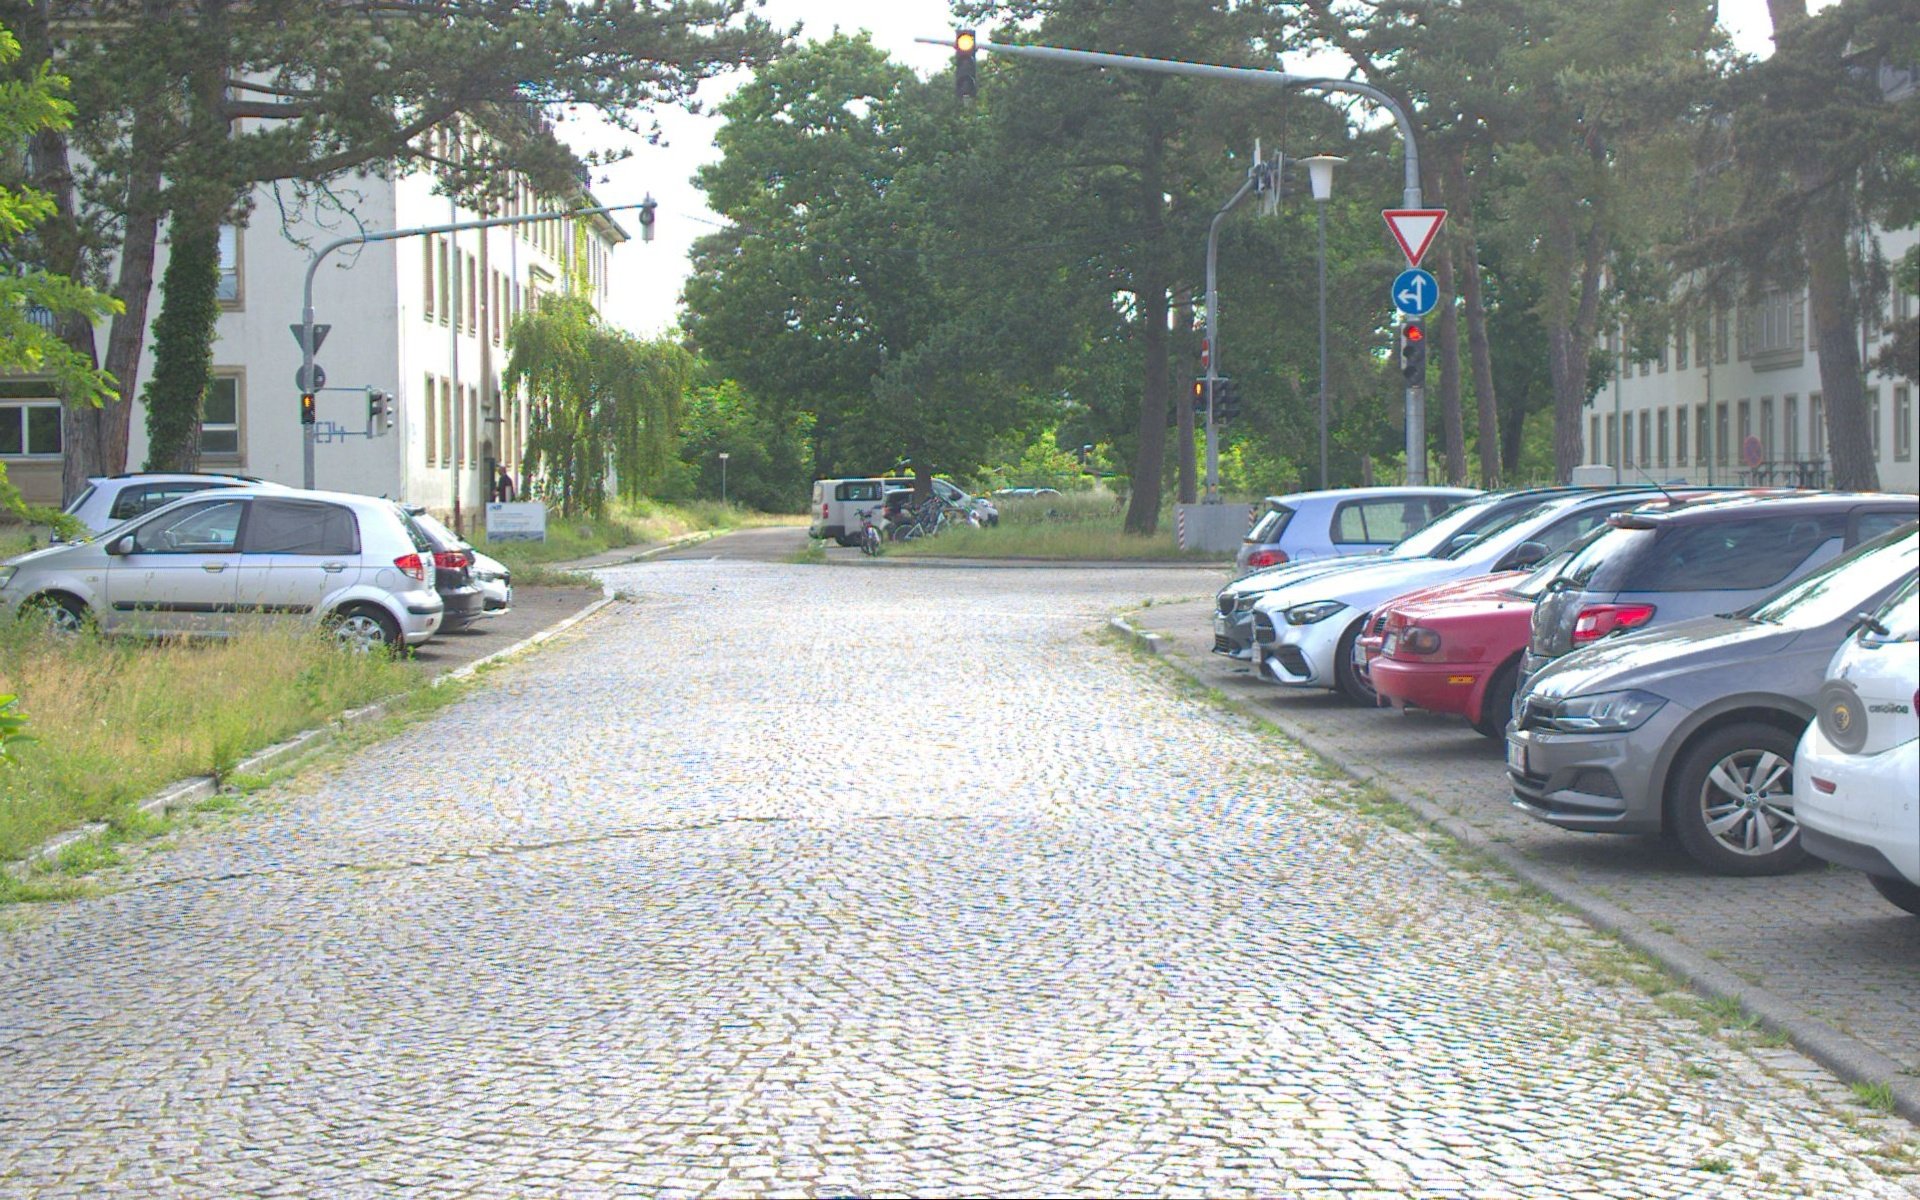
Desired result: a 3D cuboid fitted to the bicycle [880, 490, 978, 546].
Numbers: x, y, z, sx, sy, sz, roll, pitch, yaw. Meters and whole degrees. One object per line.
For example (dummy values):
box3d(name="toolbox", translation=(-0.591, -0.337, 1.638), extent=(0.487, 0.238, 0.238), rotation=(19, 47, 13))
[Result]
box3d(name="bicycle", translation=(-0.716, -1.893, 79.260), extent=(2.160, 1.264, 0.813), rotation=(0, 2, -8))

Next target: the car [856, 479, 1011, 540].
box3d(name="car", translation=(-0.725, -2.467, 93.214), extent=(3.986, 1.638, 2.001), rotation=(0, 2, -7))

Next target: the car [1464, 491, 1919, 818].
box3d(name="car", translation=(4.381, 0.216, 17.236), extent=(3.291, 1.499, 1.665), rotation=(-1, 2, -12))

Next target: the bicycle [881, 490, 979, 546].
box3d(name="bicycle", translation=(-0.695, -1.880, 78.673), extent=(2.160, 1.264, 0.813), rotation=(0, 2, -8))

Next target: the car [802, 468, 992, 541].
box3d(name="car", translation=(-1.787, -2.687, 96.464), extent=(5.049, 2.006, 2.001), rotation=(0, 2, -12))

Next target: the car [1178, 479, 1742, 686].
box3d(name="car", translation=(3.918, -0.171, 27.233), extent=(4.122, 1.538, 1.665), rotation=(-1, 2, -7))

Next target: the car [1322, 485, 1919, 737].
box3d(name="car", translation=(4.478, 0.032, 22.199), extent=(3.986, 1.538, 1.664), rotation=(0, 2, -7))

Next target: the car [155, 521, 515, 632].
box3d(name="car", translation=(-6.588, -0.262, 36.524), extent=(3.670, 1.090, 1.647), rotation=(-1, 2, -7))

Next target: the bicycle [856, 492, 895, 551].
box3d(name="bicycle", translation=(-1.840, -1.714, 74.890), extent=(0.810, 1.264, 1.973), rotation=(0, 2, -1))

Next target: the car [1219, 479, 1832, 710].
box3d(name="car", translation=(3.966, -0.075, 24.417), extent=(3.986, 1.538, 1.665), rotation=(-1, 2, -7))

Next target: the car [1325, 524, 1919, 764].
box3d(name="car", translation=(3.922, 0.221, 19.944), extent=(3.291, 1.263, 1.665), rotation=(-1, 2, -7))

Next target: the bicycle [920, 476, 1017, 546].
box3d(name="bicycle", translation=(0.194, -2.070, 79.985), extent=(2.160, 1.610, 0.813), rotation=(0, 2, -8))

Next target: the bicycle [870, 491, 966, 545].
box3d(name="bicycle", translation=(-0.989, -1.923, 80.468), extent=(2.160, 1.264, 0.813), rotation=(0, 2, -8))

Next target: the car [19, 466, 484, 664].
box3d(name="car", translation=(-6.352, -0.354, 31.257), extent=(3.986, 1.700, 2.001), rotation=(-1, 2, -7))

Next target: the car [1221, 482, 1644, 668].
box3d(name="car", translation=(4.071, -0.243, 29.807), extent=(3.388, 1.538, 1.391), rotation=(-1, 2, -7))

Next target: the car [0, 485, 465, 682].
box3d(name="car", translation=(-6.174, -0.171, 28.771), extent=(3.986, 1.546, 2.001), rotation=(-1, 2, -7))

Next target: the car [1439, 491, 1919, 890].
box3d(name="car", translation=(3.993, 0.305, 14.349), extent=(3.597, 1.501, 1.665), rotation=(-1, 2, -12))

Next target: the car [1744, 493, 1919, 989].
box3d(name="car", translation=(4.452, 0.401, 11.341), extent=(3.292, 1.499, 1.664), rotation=(0, 2, -3))

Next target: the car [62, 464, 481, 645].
box3d(name="car", translation=(-6.804, -0.477, 34.330), extent=(3.986, 1.744, 1.928), rotation=(0, 2, -8))
